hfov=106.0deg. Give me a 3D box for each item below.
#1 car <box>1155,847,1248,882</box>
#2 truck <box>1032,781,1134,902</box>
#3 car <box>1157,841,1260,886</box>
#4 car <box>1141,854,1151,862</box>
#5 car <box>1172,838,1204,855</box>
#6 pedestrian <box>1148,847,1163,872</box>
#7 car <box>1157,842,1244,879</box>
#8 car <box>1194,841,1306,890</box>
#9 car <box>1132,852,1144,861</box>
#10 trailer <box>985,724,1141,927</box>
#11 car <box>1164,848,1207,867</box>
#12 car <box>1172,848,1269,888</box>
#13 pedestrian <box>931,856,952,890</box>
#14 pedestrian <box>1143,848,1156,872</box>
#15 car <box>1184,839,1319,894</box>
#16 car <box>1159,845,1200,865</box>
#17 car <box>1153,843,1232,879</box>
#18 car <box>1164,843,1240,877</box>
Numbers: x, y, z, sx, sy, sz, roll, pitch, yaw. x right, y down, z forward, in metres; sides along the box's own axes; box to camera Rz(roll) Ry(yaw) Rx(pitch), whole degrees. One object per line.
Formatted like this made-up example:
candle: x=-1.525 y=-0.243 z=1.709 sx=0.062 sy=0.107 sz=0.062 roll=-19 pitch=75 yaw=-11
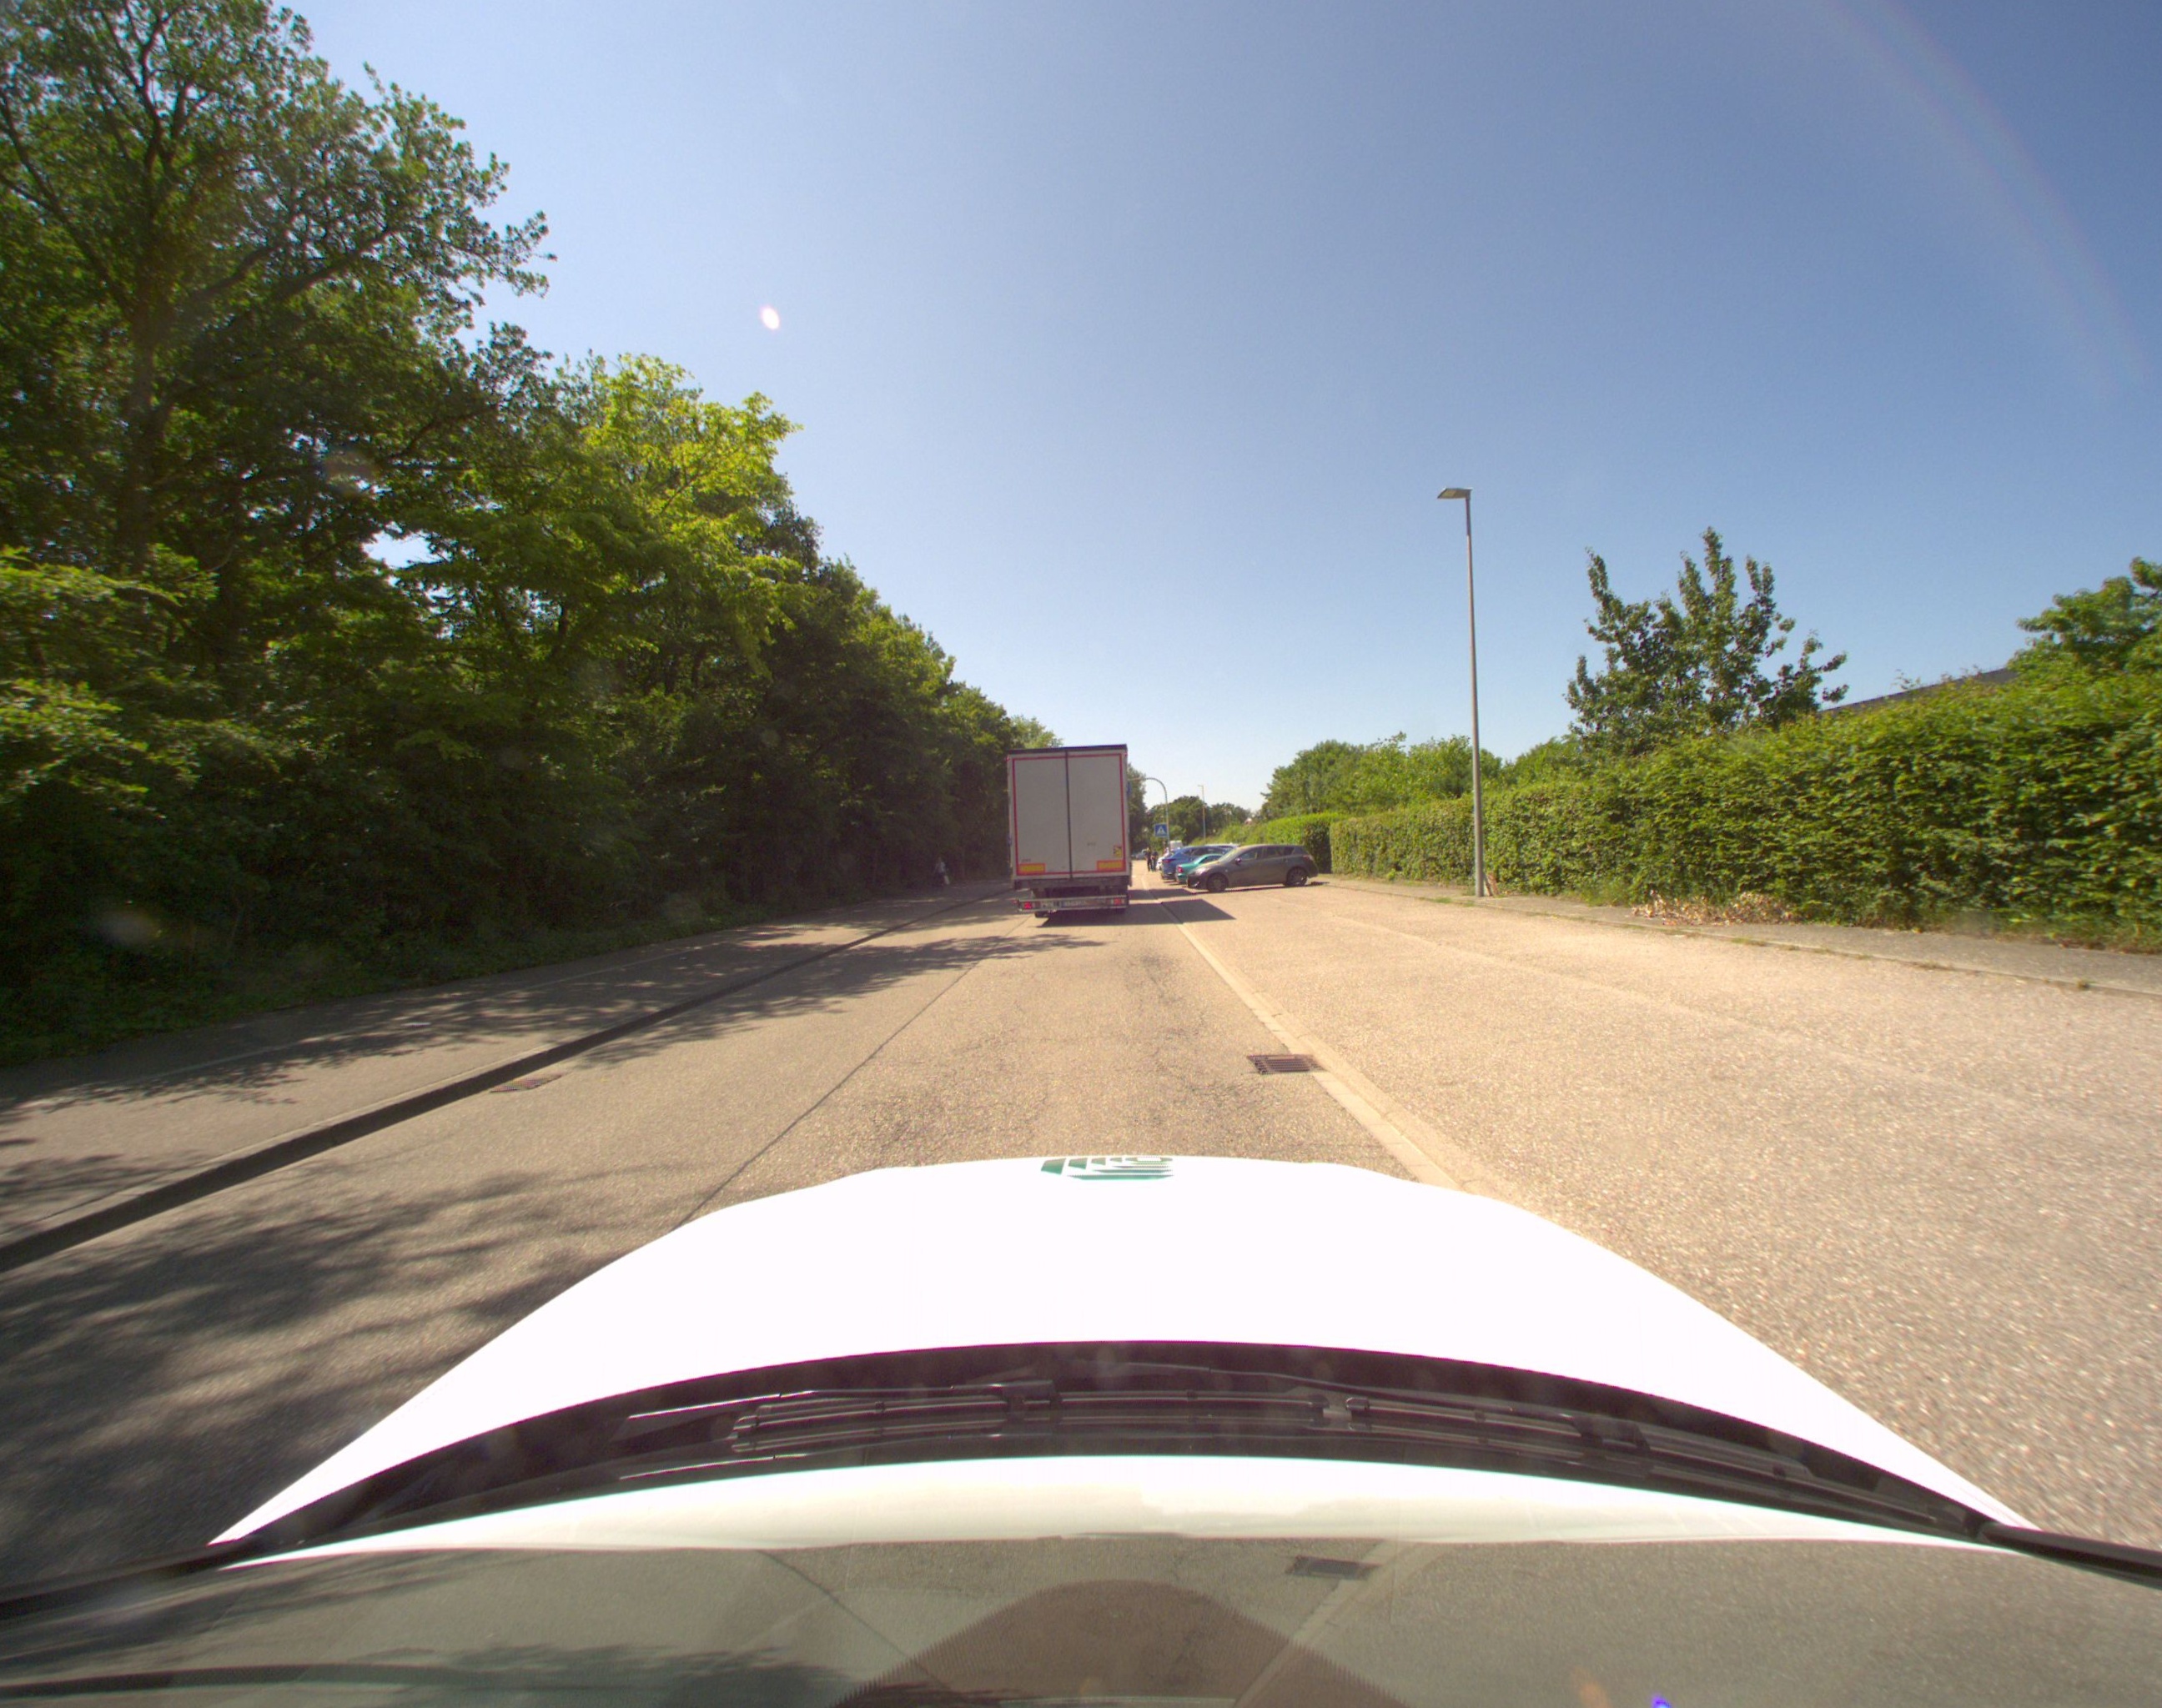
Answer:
car: x=5.797 y=0.491 z=39.499 sx=4.122 sy=1.439 sz=1.812 roll=-3 pitch=0 yaw=-4
truck: x=0.224 y=-0.403 z=29.213 sx=3.101 sy=3.725 sz=6.418 roll=-2 pitch=0 yaw=3
car: x=5.644 y=0.413 z=36.457 sx=4.222 sy=1.634 sz=1.823 roll=-5 pitch=0 yaw=1
car: x=12.682 y=0.746 z=158.604 sx=1.613 sy=1.424 sz=3.668 roll=-3 pitch=0 yaw=0
car: x=14.050 y=-0.967 z=107.199 sx=3.937 sy=1.798 sz=1.816 roll=-6 pitch=-3 yaw=5
pedestrian: x=5.659 y=0.394 z=62.093 sx=0.902 sy=1.798 sz=0.937 roll=-6 pitch=-1 yaw=8
car: x=6.180 y=0.343 z=42.505 sx=4.221 sy=1.654 sz=1.900 roll=-3 pitch=-2 yaw=1
car: x=6.286 y=0.422 z=30.593 sx=3.788 sy=1.455 sz=1.775 roll=-5 pitch=-1 yaw=1
car: x=10.183 y=0.391 z=145.299 sx=1.775 sy=1.486 sz=3.999 roll=-2 pitch=0 yaw=0
trailer: x=-0.086 y=-0.607 z=22.801 sx=3.100 sy=4.102 sz=11.545 roll=-2 pitch=0 yaw=3
car: x=10.347 y=0.368 z=80.591 sx=3.944 sy=1.618 sz=1.813 roll=-4 pitch=0 yaw=-1
car: x=5.717 y=0.562 z=33.691 sx=3.719 sy=1.268 sz=1.629 roll=-5 pitch=-1 yaw=3
pedestrian: x=-6.847 y=0.932 z=39.962 sx=0.825 sy=1.622 sz=0.783 roll=-1 pitch=0 yaw=1
pedestrian: x=5.452 y=0.483 z=65.013 sx=0.817 sy=1.834 sz=0.794 roll=-6 pitch=-1 yaw=8
car: x=5.683 y=0.418 z=27.515 sx=4.148 sy=1.495 sz=1.883 roll=-4 pitch=-1 yaw=1
car: x=10.463 y=0.119 z=86.611 sx=3.944 sy=1.765 sz=1.813 roll=-5 pitch=0 yaw=-1
car: x=6.681 y=0.409 z=49.122 sx=4.390 sy=1.698 sz=1.877 roll=-5 pitch=-1 yaw=0
car: x=6.870 y=0.339 z=46.569 sx=4.108 sy=1.657 sz=1.888 roll=-4 pitch=0 yaw=3
